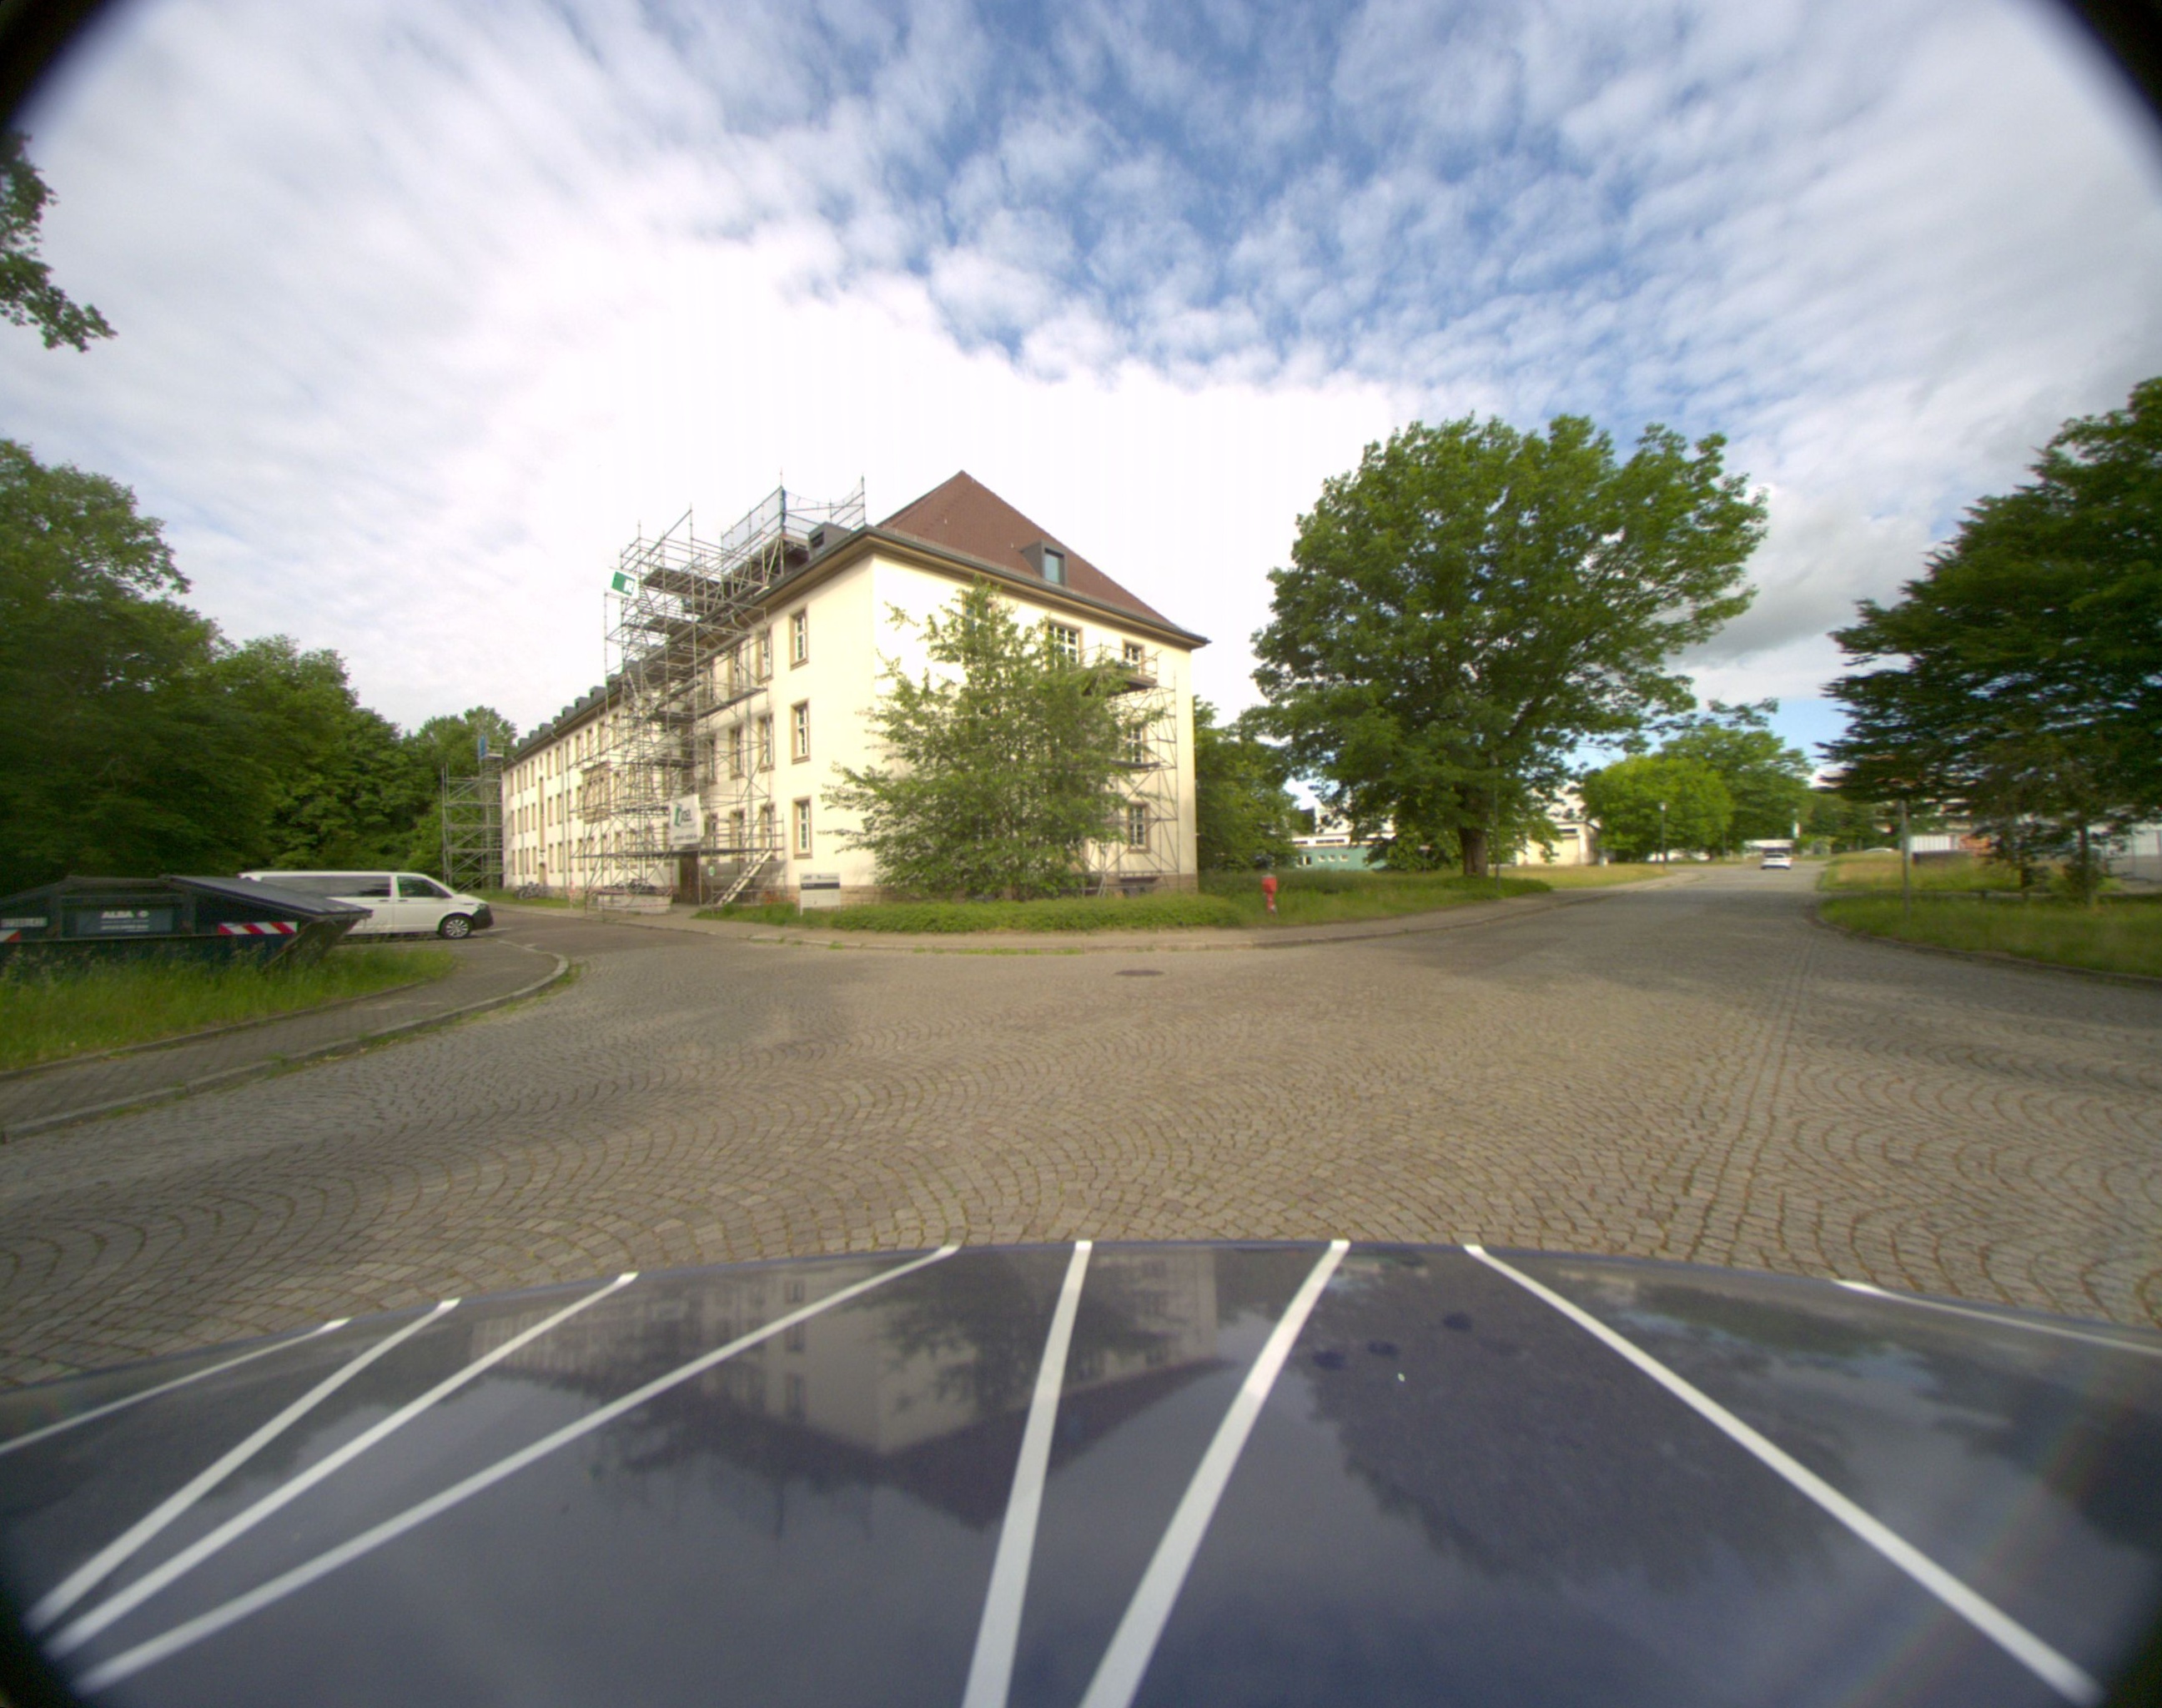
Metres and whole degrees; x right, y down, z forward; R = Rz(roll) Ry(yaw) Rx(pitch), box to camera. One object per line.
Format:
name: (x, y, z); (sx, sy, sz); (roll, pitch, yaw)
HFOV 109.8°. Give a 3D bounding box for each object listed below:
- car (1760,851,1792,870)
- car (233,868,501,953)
car: (59.934, 0.549, 65.456); (1.850, 1.428, 4.716); (-3, -1, 44)
car: (-19.512, 1.444, 21.054); (2.182, 2.047, 5.229); (-3, -2, 44)
